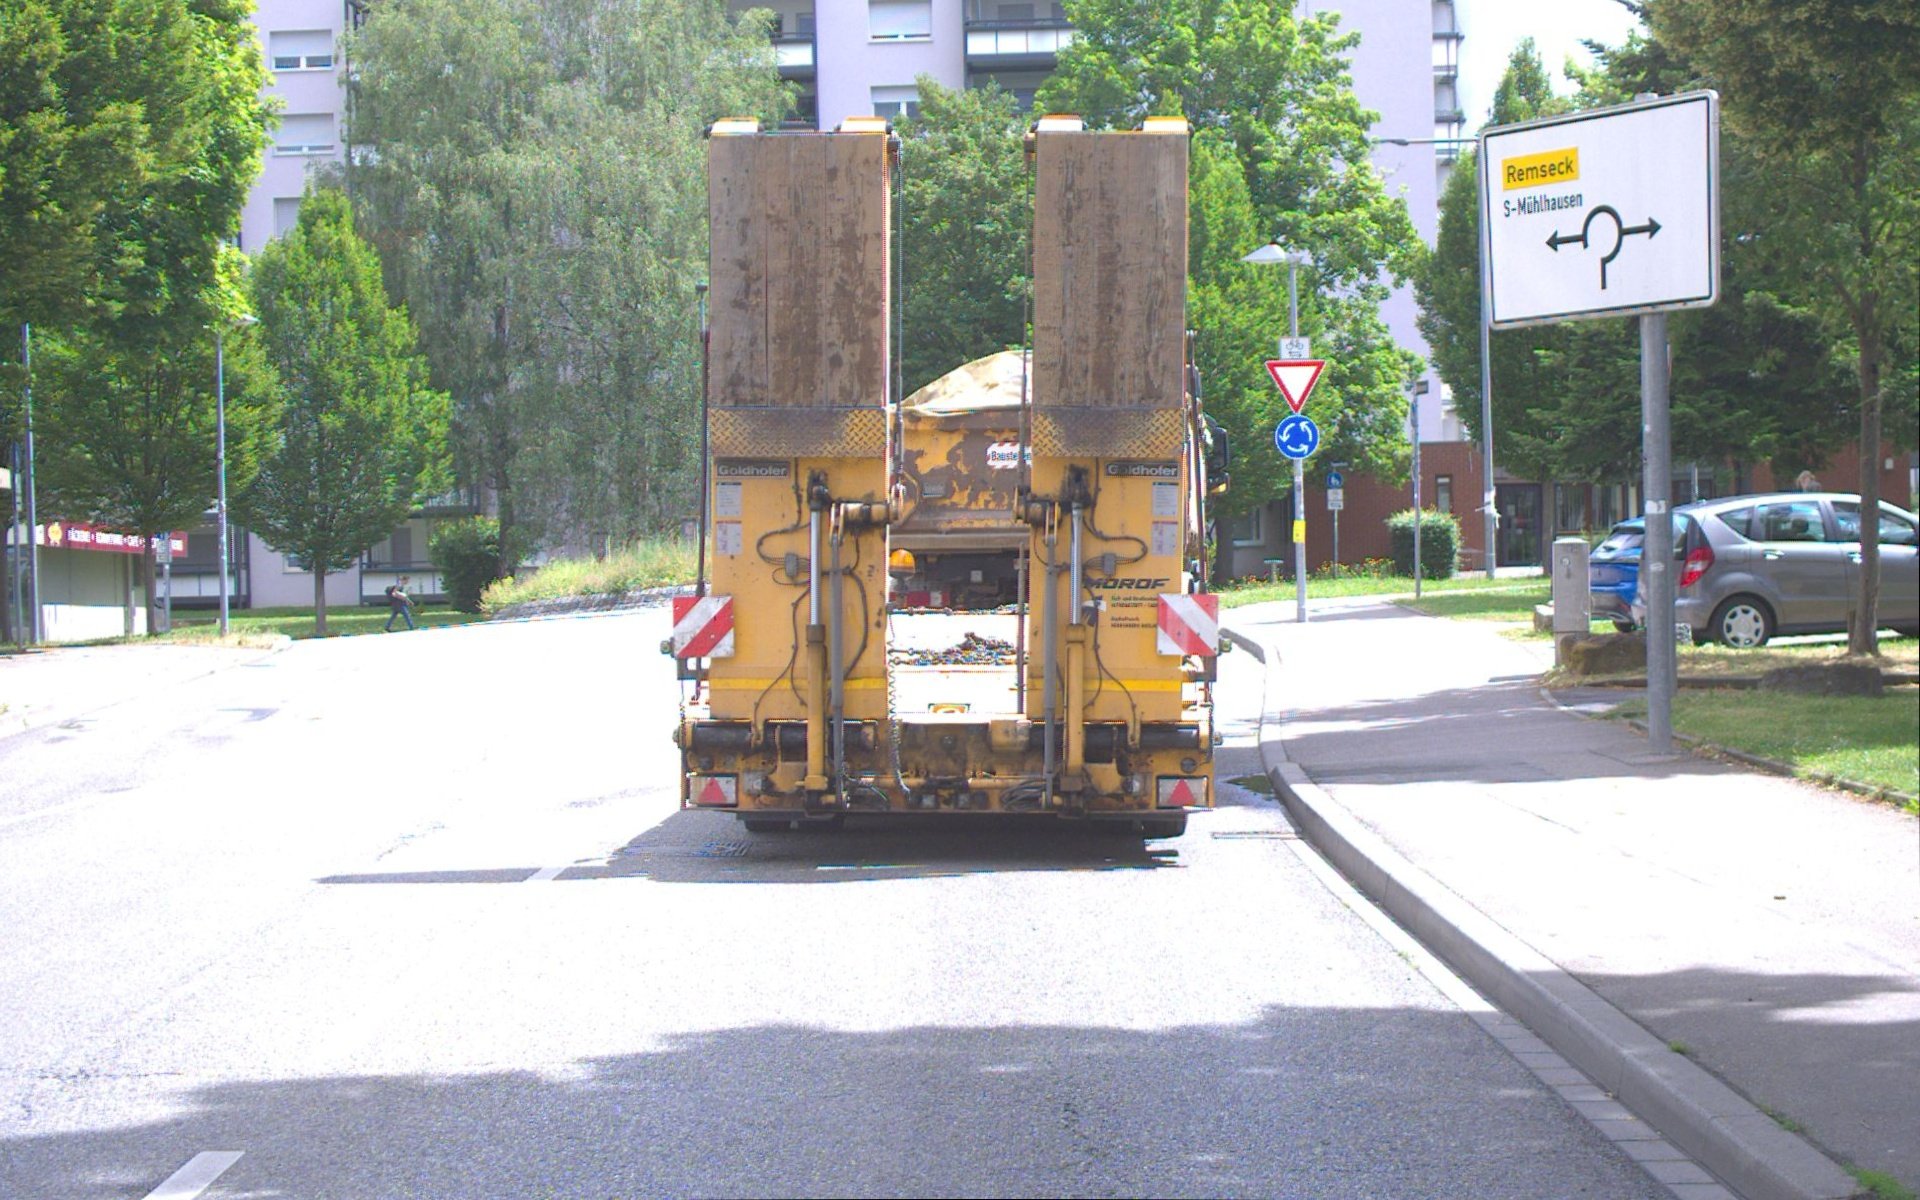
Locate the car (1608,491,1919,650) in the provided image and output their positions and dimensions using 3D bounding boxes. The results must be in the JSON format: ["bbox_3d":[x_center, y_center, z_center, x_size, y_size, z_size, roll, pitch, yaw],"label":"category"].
[{"bbox_3d":[8.793,-0.306,34.838,3.986,1.556,1.760,0,1,-12],"label":"car"}]

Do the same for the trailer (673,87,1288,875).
[{"bbox_3d":[0.252,-0.675,22.084,2.827,3.633,12.354,0,1,2],"label":"trailer"}]

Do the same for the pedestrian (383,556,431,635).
[{"bbox_3d":[-14.127,-0.117,87.786,0.907,2.007,0.962,0,1,-31],"label":"pedestrian"}]

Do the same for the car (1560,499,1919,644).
[{"bbox_3d":[8.897,-0.326,38.299,3.986,1.556,1.760,0,1,-12],"label":"car"}]
